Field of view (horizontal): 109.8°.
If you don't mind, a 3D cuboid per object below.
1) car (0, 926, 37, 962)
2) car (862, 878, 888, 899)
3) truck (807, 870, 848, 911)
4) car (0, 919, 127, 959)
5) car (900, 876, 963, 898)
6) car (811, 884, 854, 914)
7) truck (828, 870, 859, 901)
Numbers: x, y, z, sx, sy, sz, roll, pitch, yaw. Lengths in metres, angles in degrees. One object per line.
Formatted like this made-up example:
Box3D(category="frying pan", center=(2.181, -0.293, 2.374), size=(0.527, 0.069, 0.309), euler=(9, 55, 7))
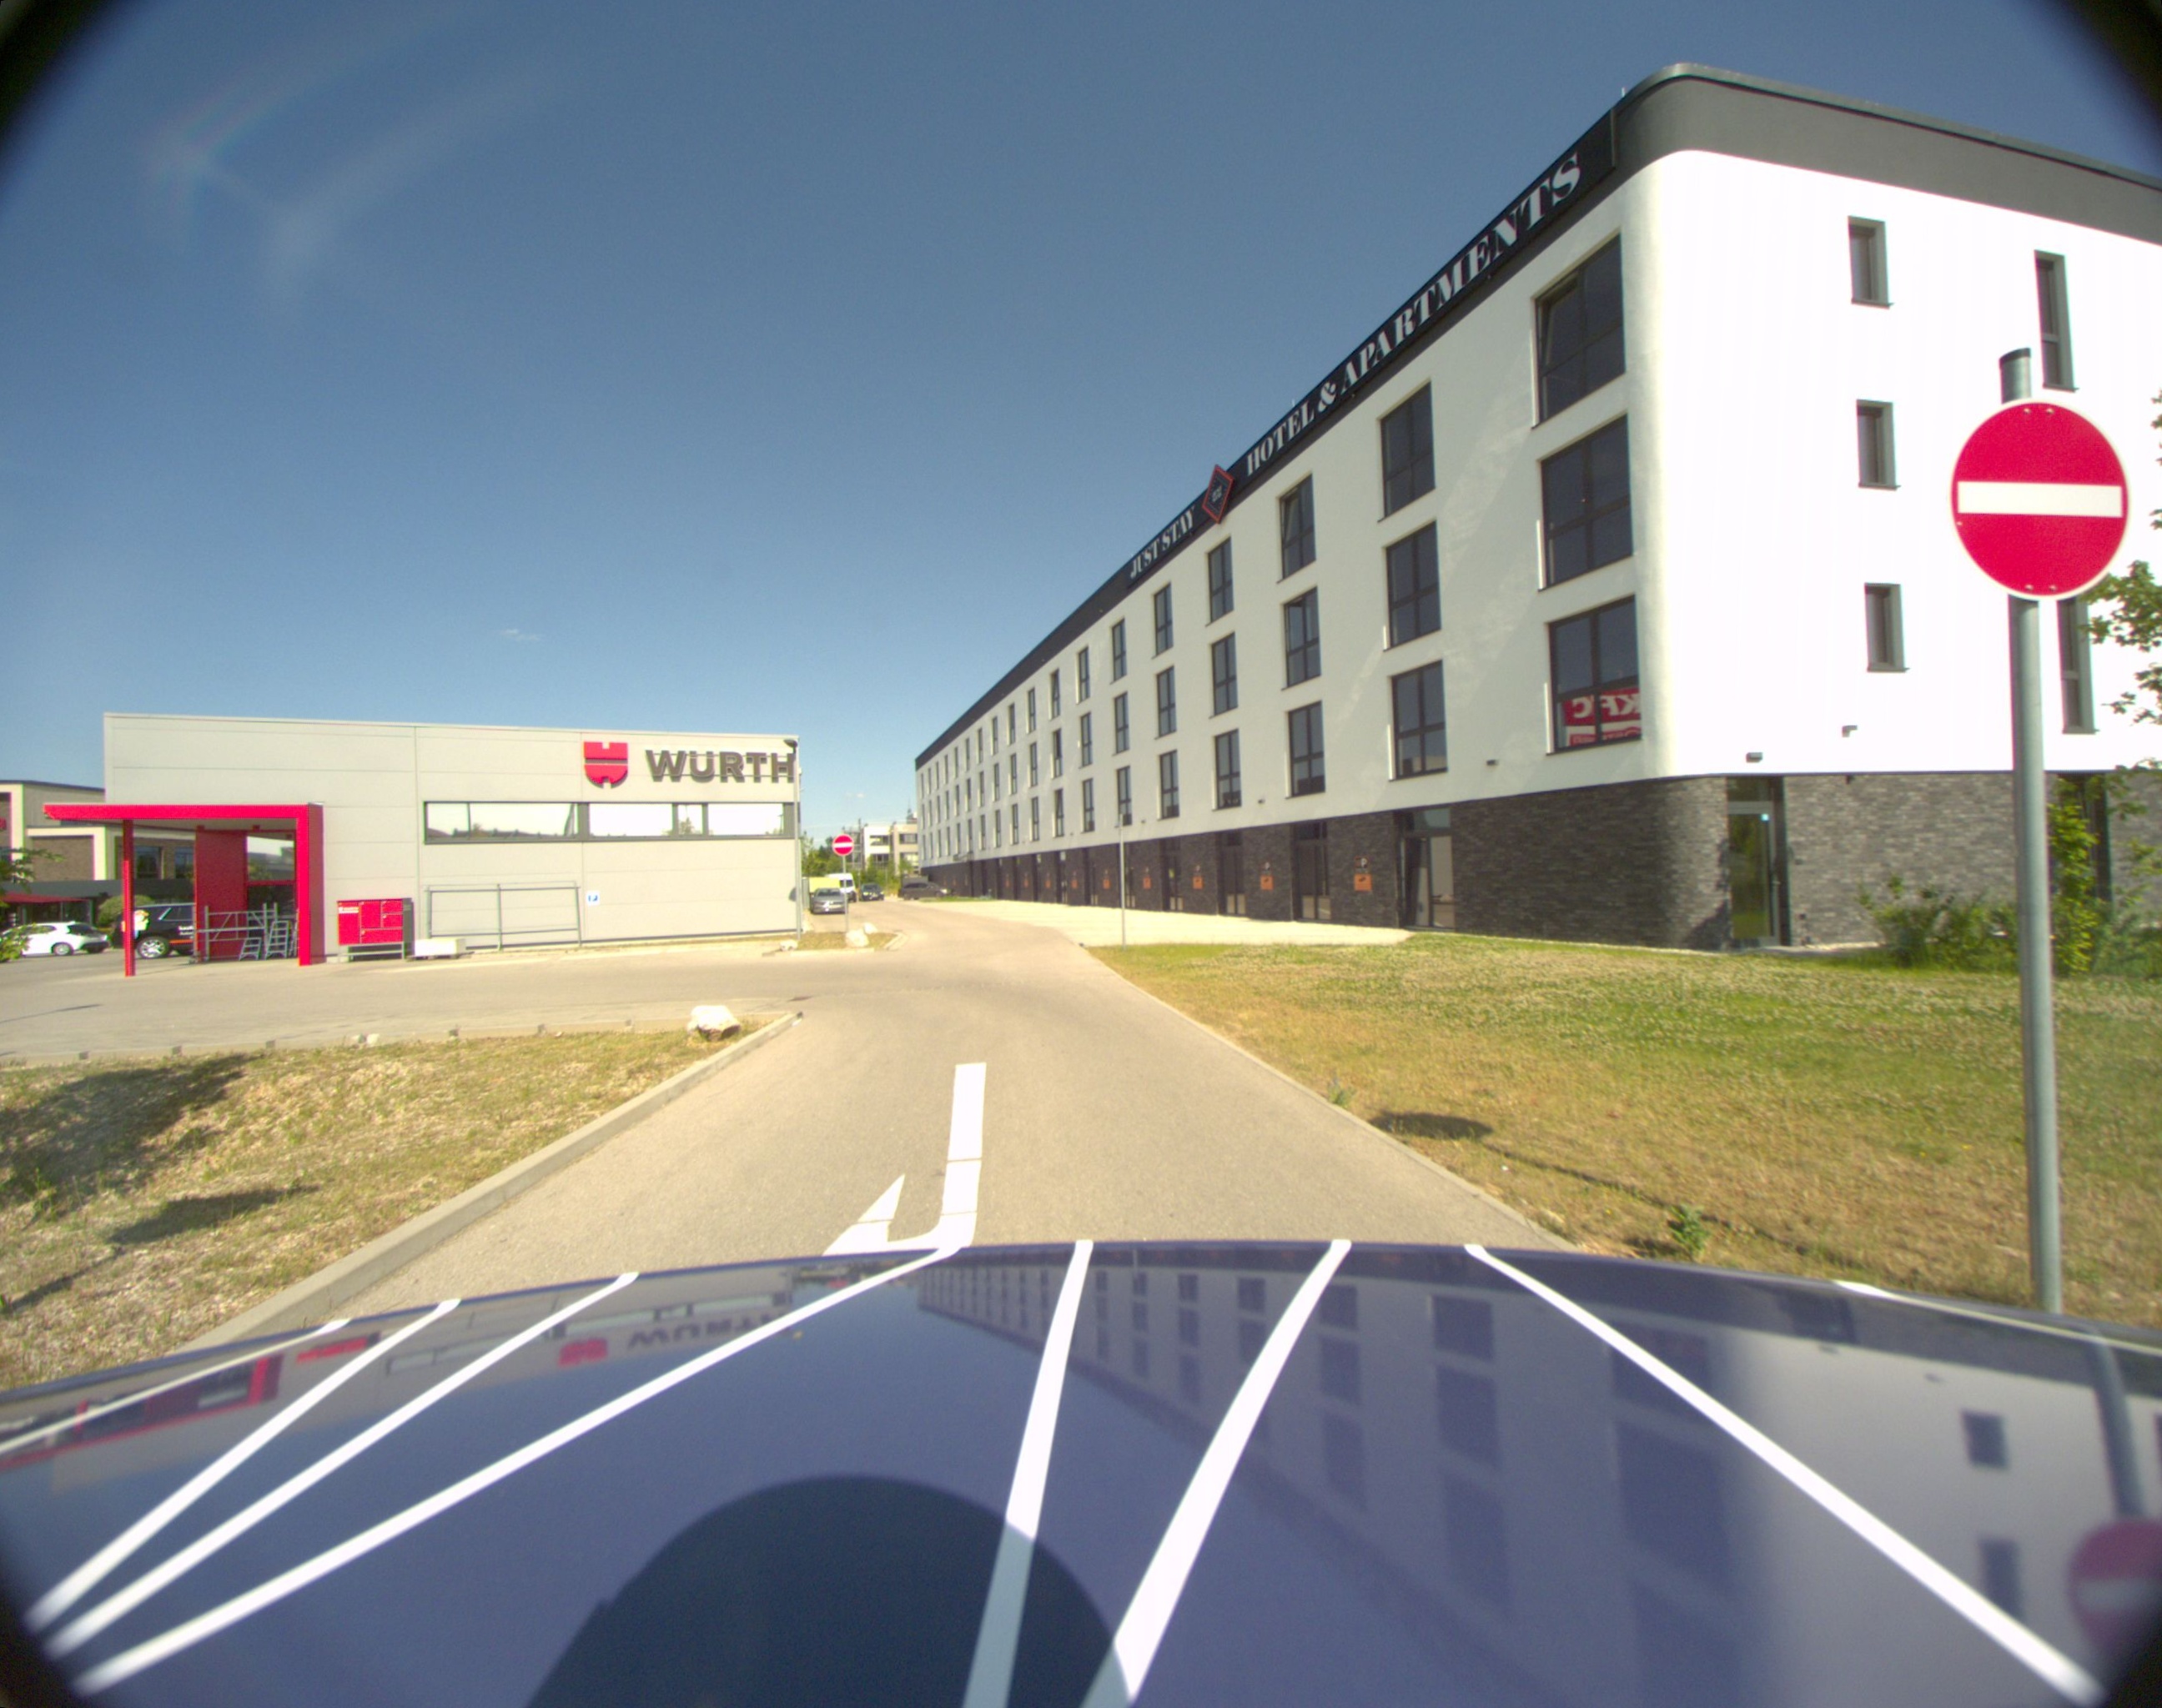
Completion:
Box3D(category="car", center=(-44.064, 3.632, 29.253), size=(4.158, 1.329, 1.828), euler=(-2, -1, -23))
Box3D(category="car", center=(-17.627, 2.943, 65.002), size=(1.720, 1.608, 3.994), euler=(-2, 0, -20))
Box3D(category="truck", center=(-16.311, 2.298, 48.749), size=(2.126, 2.362, 5.881), euler=(-2, -1, -21))
Box3D(category="car", center=(-45.850, 3.764, 33.765), size=(3.916, 1.465, 1.801), euler=(-2, -1, -17))
Box3D(category="car", center=(-11.916, 2.650, 60.782), size=(4.517, 1.499, 1.882), euler=(-3, -1, 15))
Box3D(category="car", center=(-13.966, 2.459, 42.505), size=(1.881, 1.499, 3.993), euler=(-2, -1, -23))
Box3D(category="truck", center=(-20.076, 2.644, 64.115), size=(2.002, 2.362, 5.881), euler=(-2, -1, -21))
